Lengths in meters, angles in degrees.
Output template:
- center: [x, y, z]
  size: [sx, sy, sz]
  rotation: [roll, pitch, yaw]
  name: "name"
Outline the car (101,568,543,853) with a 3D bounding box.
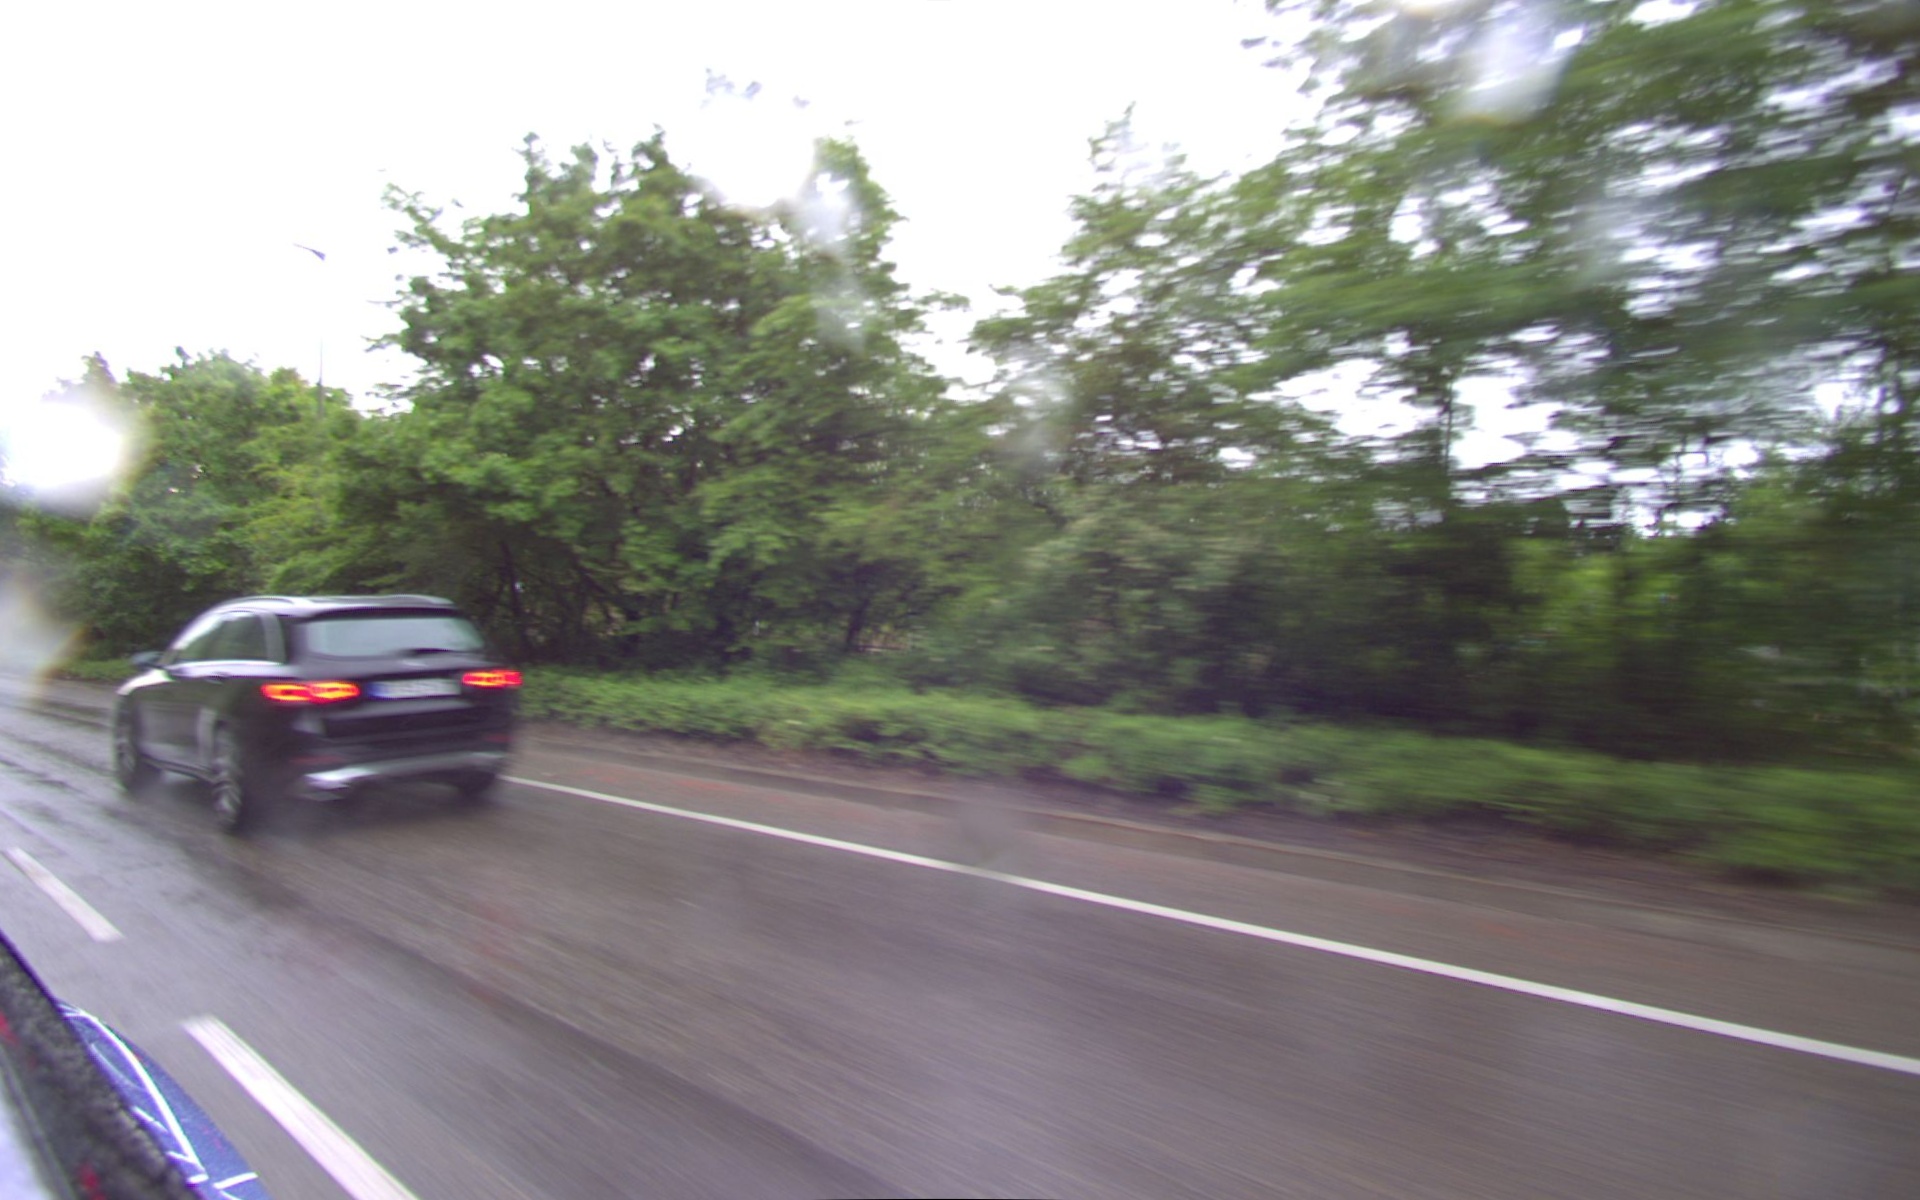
- center: [-5.332, 0.701, 8.212]
  size: [4.329, 1.719, 1.812]
  rotation: [-2, -1, 40]
  name: "car"
